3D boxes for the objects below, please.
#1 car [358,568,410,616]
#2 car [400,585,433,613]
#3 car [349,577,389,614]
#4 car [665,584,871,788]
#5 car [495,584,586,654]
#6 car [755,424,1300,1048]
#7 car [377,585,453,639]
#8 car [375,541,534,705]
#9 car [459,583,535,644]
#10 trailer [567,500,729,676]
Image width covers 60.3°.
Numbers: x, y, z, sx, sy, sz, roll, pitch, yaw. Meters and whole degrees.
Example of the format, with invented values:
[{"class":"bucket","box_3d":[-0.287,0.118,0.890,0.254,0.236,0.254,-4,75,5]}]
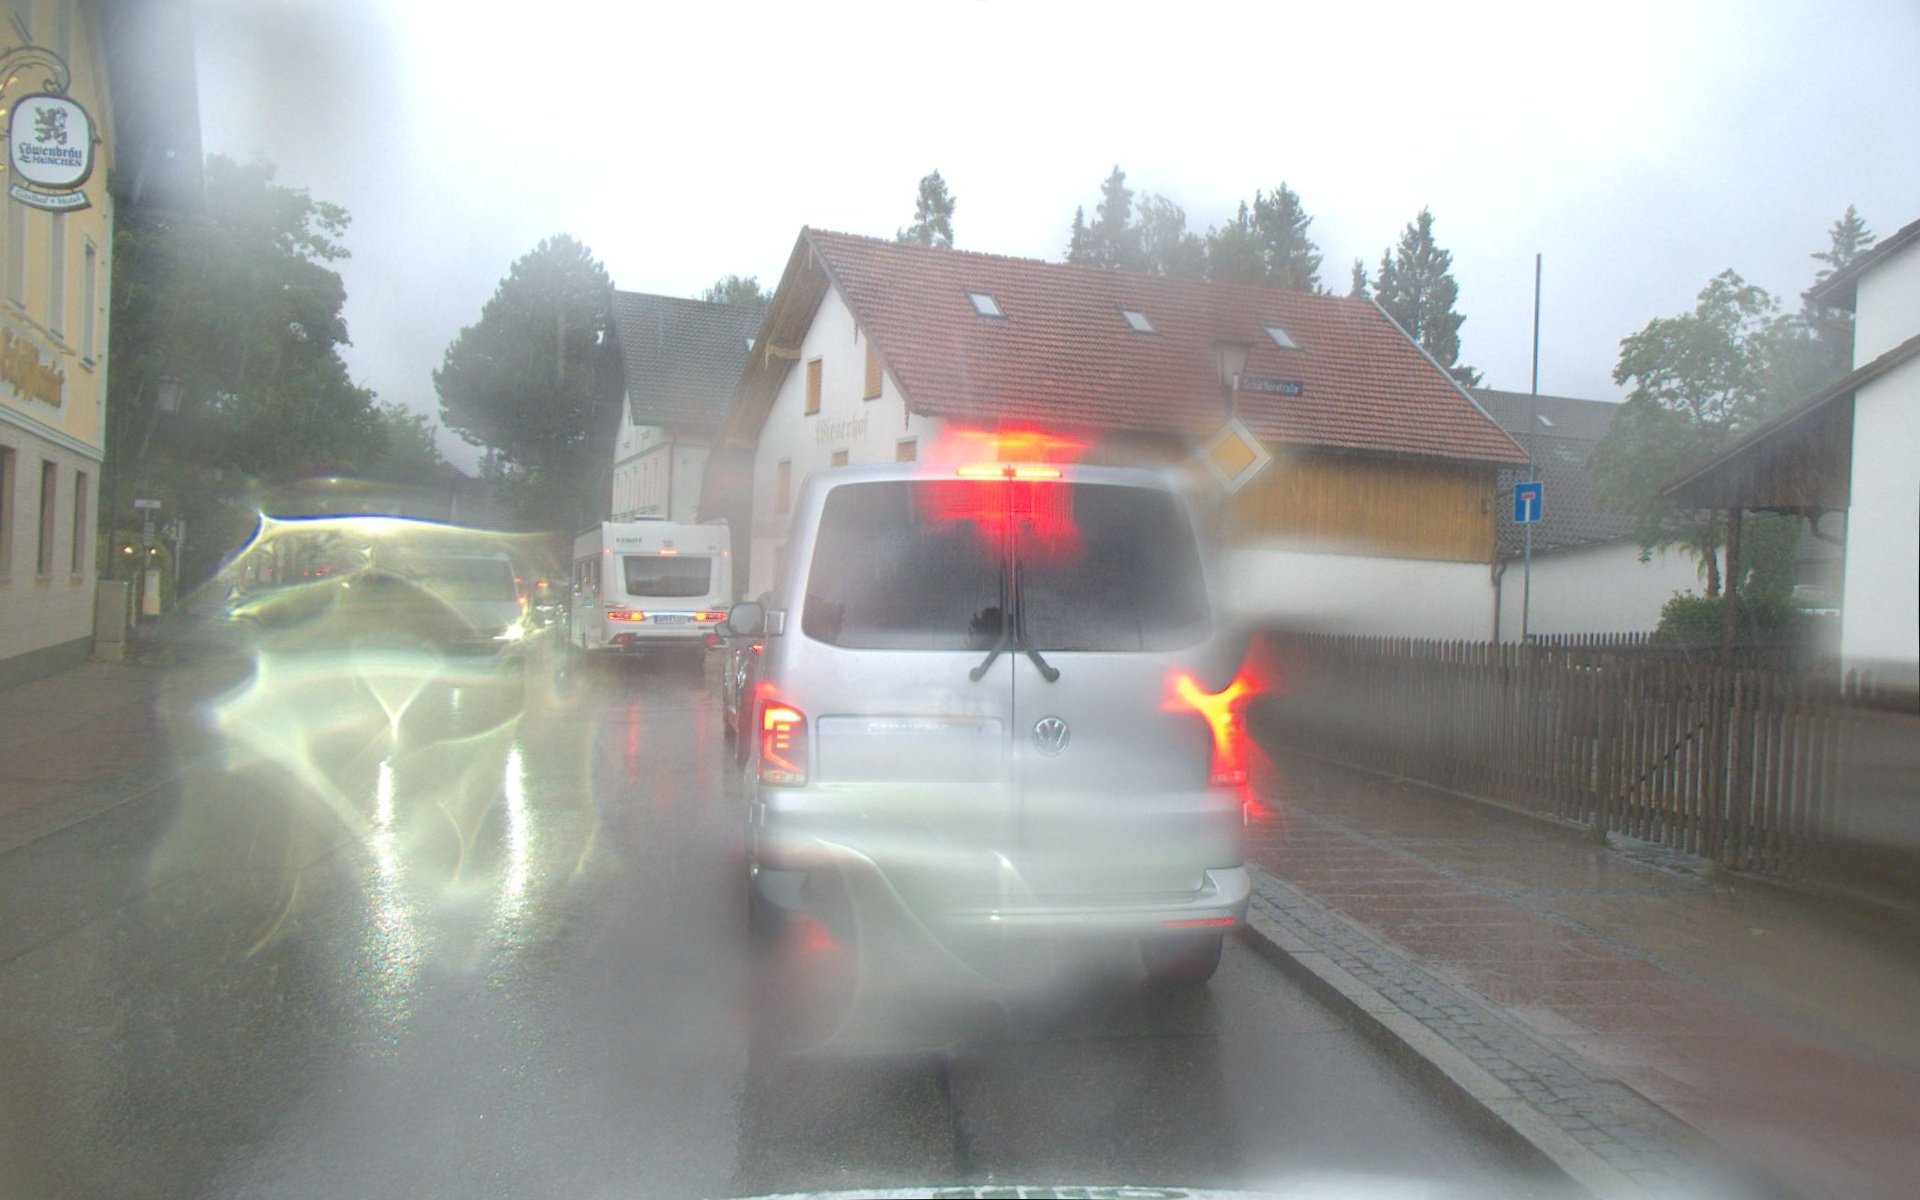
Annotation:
[{"class":"car","box_3d":[-22.977,-0.326,66.026,1.834,1.788,4.458,-2,1,-19]},{"class":"car","box_3d":[-41.852,-0.117,127.207,2.138,1.932,4.984,3,1,-21]},{"class":"car","box_3d":[-30.102,-0.252,84.335,1.834,1.788,4.458,-2,1,-19]},{"class":"car","box_3d":[-1.953,0.680,15.946,1.677,1.611,4.675,-1,1,-10]},{"class":"car","box_3d":[-13.157,0.544,51.683,2.138,1.932,4.984,3,1,-21]},{"class":"car","box_3d":[0.163,0.443,7.855,1.740,1.997,5.072,1,0,-1]},{"class":"car","box_3d":[-15.334,0.302,46.422,1.835,1.382,4.456,0,1,-21]},{"class":"car","box_3d":[-6.814,0.289,22.705,1.819,2.006,4.684,0,0,-14]},{"class":"car","box_3d":[-16.748,0.446,59.662,2.138,1.932,4.984,3,1,-21]},{"class":"trailer","box_3d":[-5.967,-0.204,30.964,2.235,2.955,6.102,1,0,-17]}]
